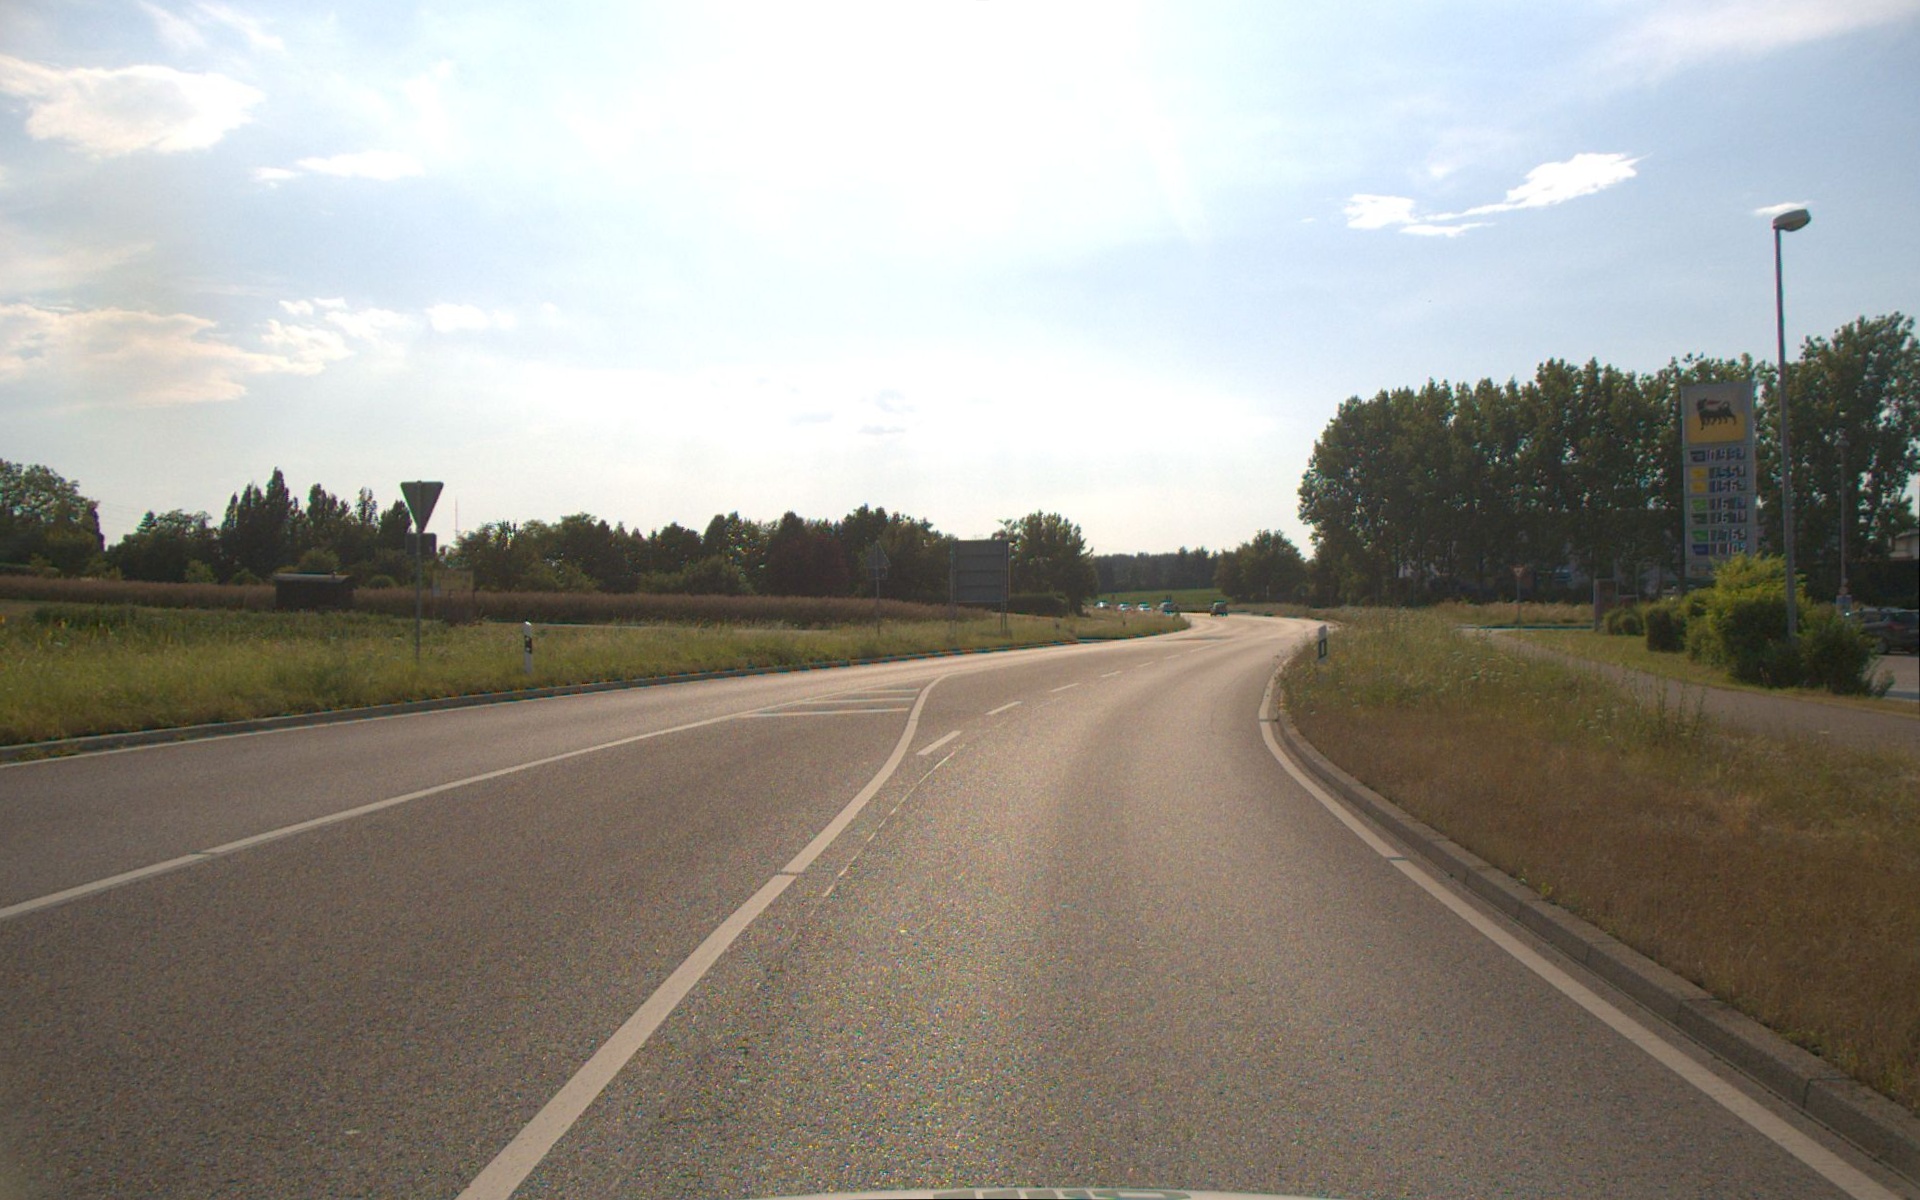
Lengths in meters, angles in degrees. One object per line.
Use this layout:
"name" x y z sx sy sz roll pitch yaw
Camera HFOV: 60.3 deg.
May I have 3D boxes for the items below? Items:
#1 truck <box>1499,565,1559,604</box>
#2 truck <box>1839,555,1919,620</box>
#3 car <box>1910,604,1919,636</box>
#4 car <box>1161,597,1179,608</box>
"truck" 51.167 -1.352 148.930 2.574 3.217 5.691 2 -2 -12
"truck" 58.842 -0.735 105.321 2.205 3.984 5.100 2 -1 -13
"car" 38.427 0.822 62.857 1.573 1.223 3.892 4 -1 -20
"car" 29.246 0.373 230.429 1.814 1.432 3.642 1 -1 -3
